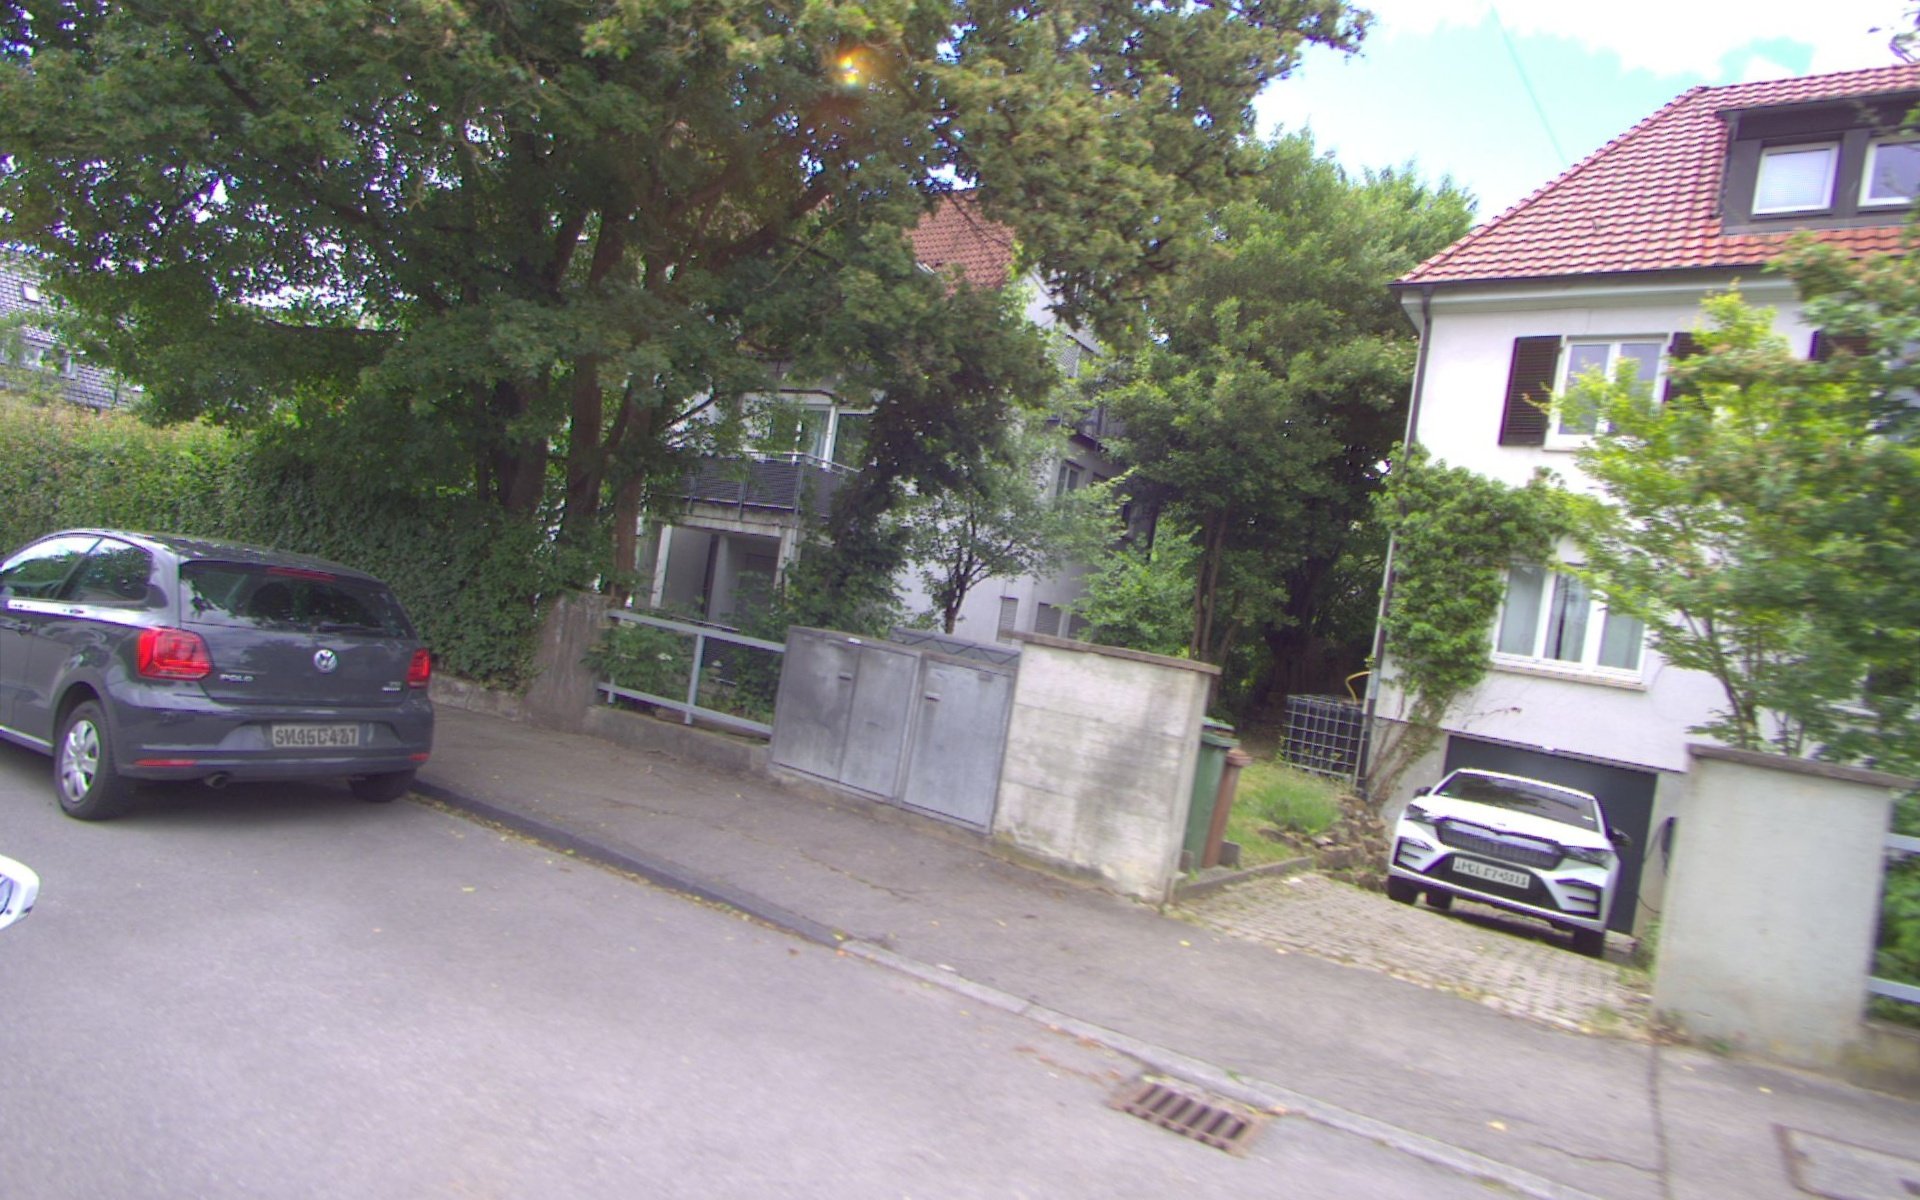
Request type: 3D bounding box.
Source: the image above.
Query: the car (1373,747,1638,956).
[{"bbox_3d":[5.737,2.470,10.461,1.885,1.367,4.001,8,-5,33],"label":"car"}]

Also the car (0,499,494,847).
[{"bbox_3d":[-4.944,0.281,6.283,3.726,1.504,1.714,7,-2,30],"label":"car"}]
